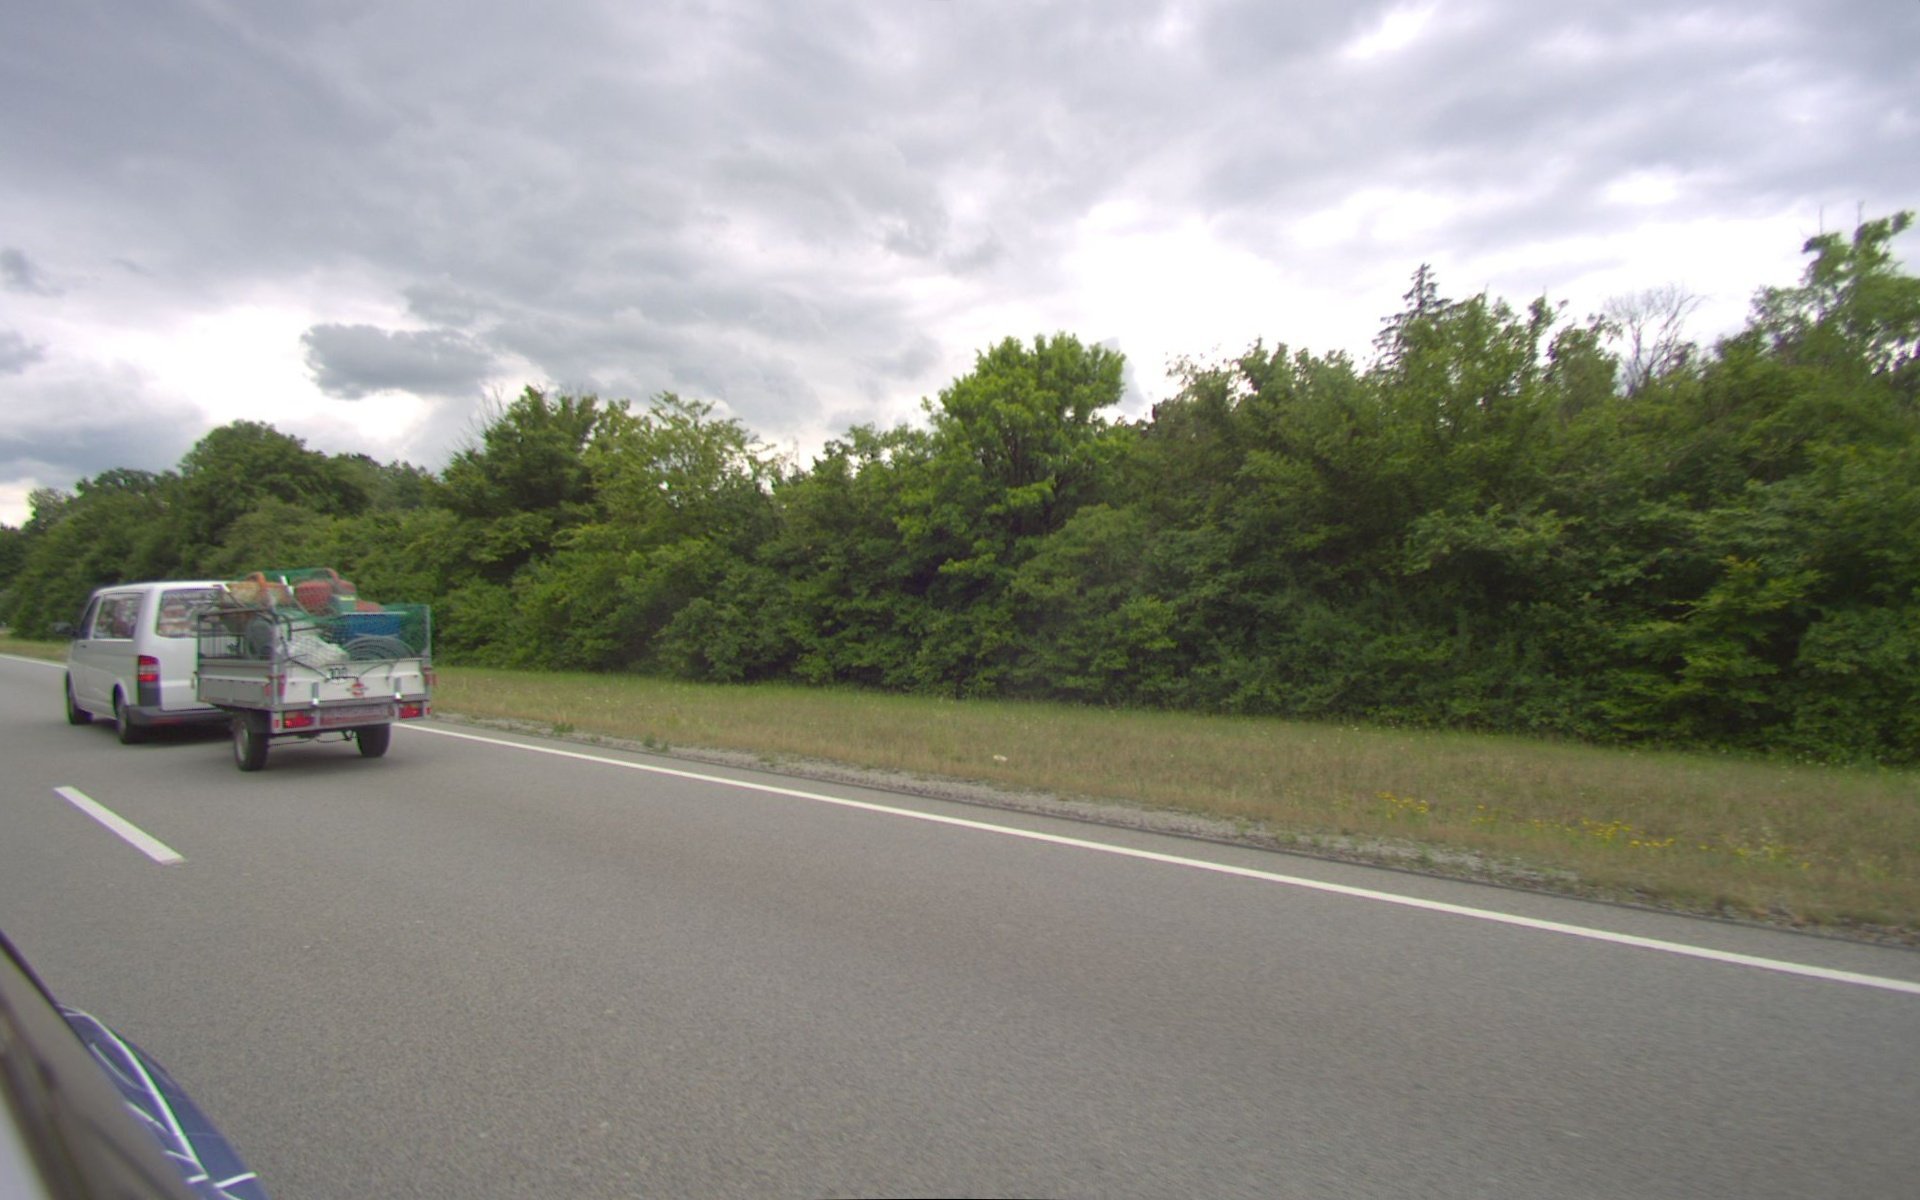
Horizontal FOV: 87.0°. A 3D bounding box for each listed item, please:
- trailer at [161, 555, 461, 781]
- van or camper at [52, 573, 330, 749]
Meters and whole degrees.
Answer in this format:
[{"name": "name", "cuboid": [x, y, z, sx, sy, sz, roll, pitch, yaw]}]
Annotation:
[{"name": "trailer", "cuboid": [-6.778, 0.596, 10.425, 3.782, 1.907, 1.606, -1, 0, 41]}, {"name": "van or camper", "cuboid": [-10.361, 0.691, 13.437, 5.359, 1.907, 1.901, -1, 0, 41]}]
